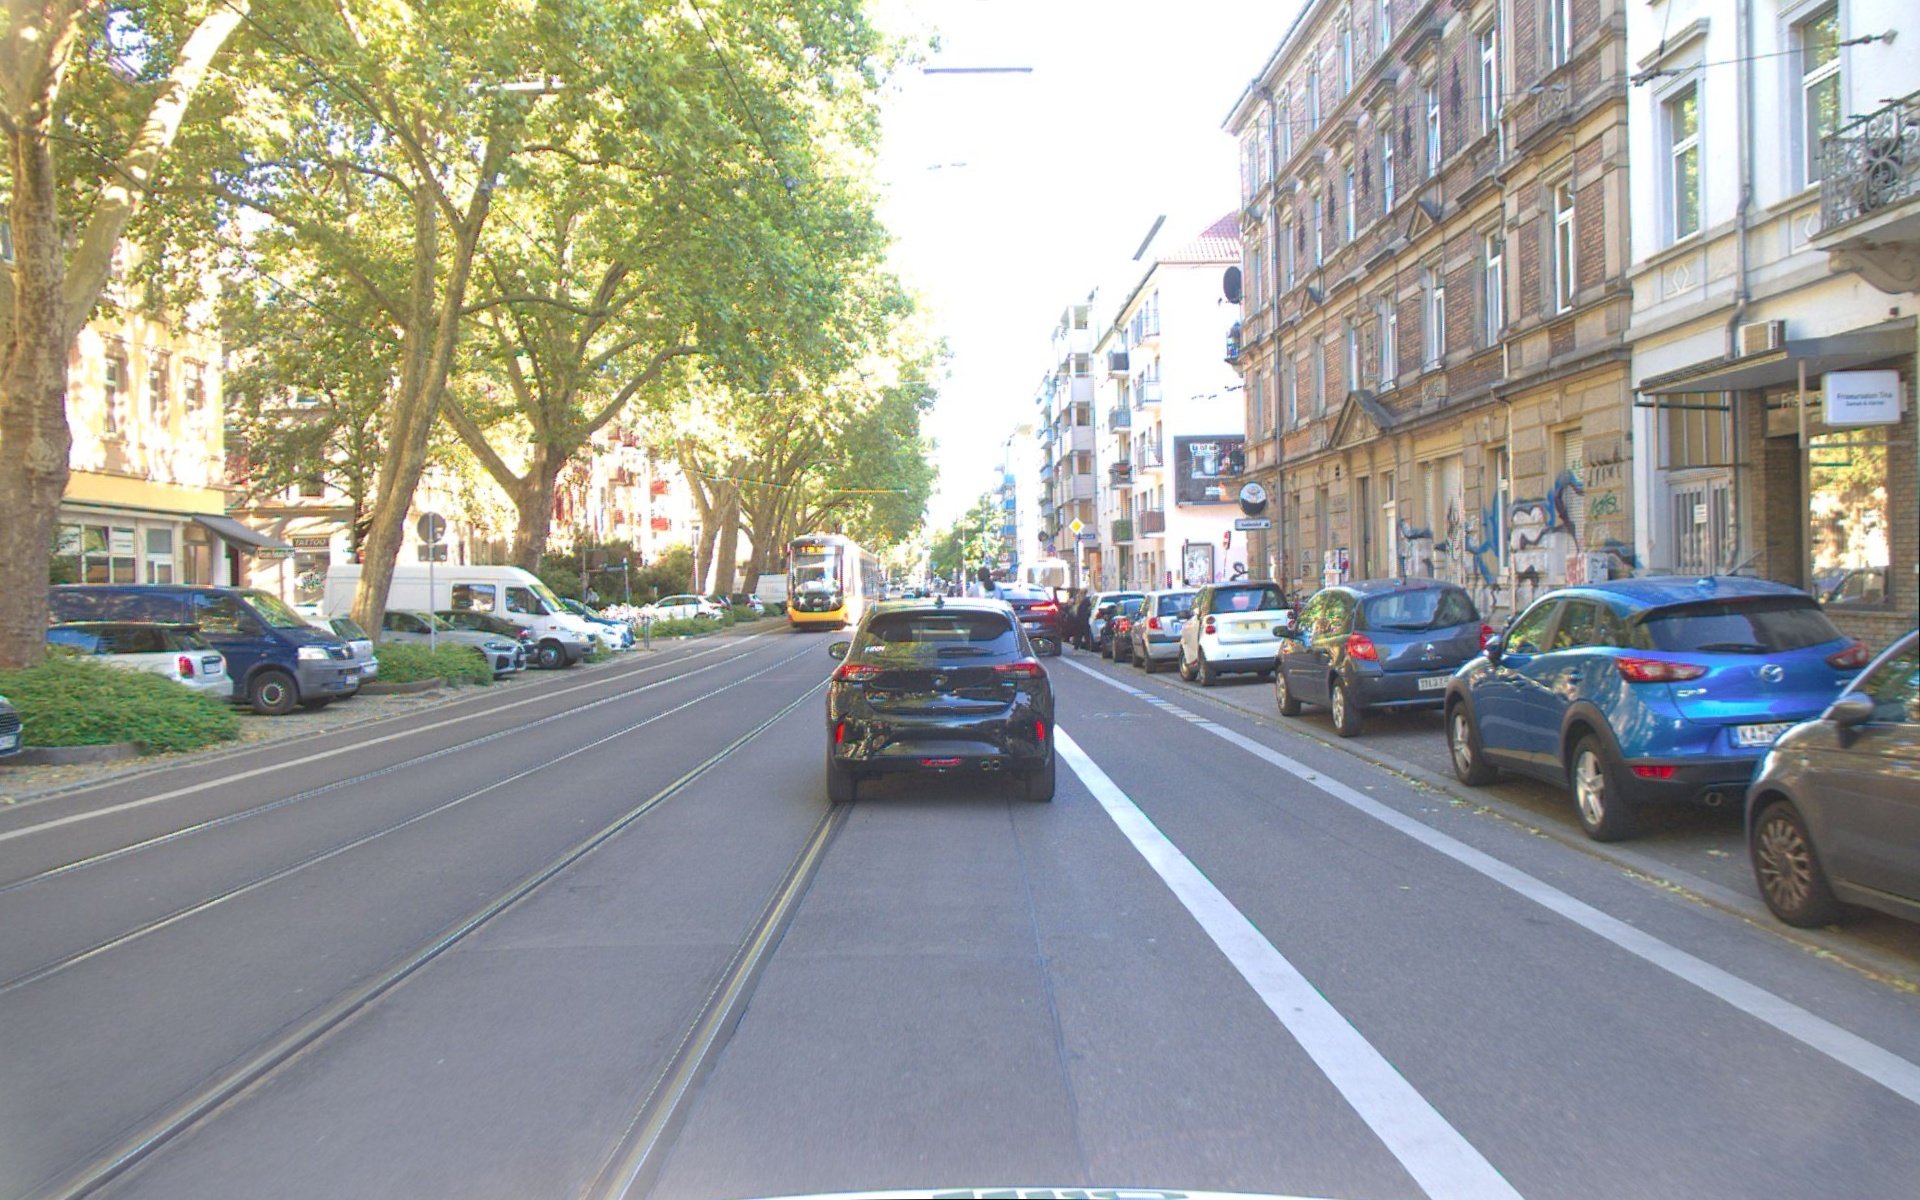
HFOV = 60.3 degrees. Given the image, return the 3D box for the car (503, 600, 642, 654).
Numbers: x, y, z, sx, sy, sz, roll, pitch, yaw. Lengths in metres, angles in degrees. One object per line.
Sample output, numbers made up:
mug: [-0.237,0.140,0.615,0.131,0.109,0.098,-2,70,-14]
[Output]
car: [-11.669,0.798,49.940,3.842,1.605,1.676,0,0,-4]

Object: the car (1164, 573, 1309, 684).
car: [4.357,0.427,26.414,1.537,1.543,3.038,-5,0,-3]

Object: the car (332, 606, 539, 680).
car: [-11.093,0.886,35.128,3.839,1.524,1.677,0,0,0]

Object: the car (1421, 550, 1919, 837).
car: [4.729,0.521,11.462,1.842,1.481,4.025,-5,0,0]

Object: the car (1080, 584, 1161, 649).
car: [4.086,0.395,42.603,1.628,1.444,3.933,-5,0,0]

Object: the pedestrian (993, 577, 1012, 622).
pedestrian: [1.518,-0.013,59.498,0.665,1.594,0.769,-1,0,1]

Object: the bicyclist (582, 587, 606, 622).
bicyclist: [-18.690,0.232,84.518,0.967,1.787,1.153,-1,0,-3]

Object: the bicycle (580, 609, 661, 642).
bicycle: [-12.965,0.986,63.147,2.880,1.190,0.991,-1,0,16]

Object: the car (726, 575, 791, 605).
car: [-12.436,-0.618,102.264,3.842,1.821,1.676,0,0,-4]

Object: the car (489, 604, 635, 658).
car: [-11.380,0.873,47.487,3.842,1.524,1.676,0,0,-4]

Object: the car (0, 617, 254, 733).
car: [-11.949,1.001,22.814,3.658,1.524,1.746,0,0,-1]

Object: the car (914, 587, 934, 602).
car: [-3.336,-0.490,153.987,1.773,1.361,3.933,-1,0,0]

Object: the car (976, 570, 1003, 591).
car: [2.141,-1.385,119.344,1.773,1.361,3.933,-5,0,0]

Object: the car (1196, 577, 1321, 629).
car: [11.170,0.091,61.983,4.289,1.829,1.876,-1,0,-2]

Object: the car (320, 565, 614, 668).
car: [-12.054,0.396,40.839,6.493,2.451,2.457,0,0,-1]

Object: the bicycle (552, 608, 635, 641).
bicycle: [-13.742,0.908,61.975,2.880,1.190,0.991,-1,0,16]

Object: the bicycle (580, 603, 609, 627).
bicycle: [-18.677,0.750,84.529,0.967,1.190,2.950,-1,0,-3]

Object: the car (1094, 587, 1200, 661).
car: [4.006,0.487,35.956,1.773,1.361,3.933,-5,0,0]

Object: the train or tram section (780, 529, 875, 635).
train or tram section: [-5.115,-0.680,66.172,2.679,3.746,12.716,-2,0,0]

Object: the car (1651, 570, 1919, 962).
car: [4.656,0.632,6.904,1.763,1.481,3.767,-5,0,-2]

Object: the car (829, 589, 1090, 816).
car: [-0.042,0.687,13.050,1.757,1.466,3.530,-1,1,-1]

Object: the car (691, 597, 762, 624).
car: [-13.094,0.572,92.894,3.842,1.524,1.676,0,0,-4]

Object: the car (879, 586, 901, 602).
car: [-6.278,-0.542,148.897,1.773,1.361,3.933,-1,0,0]

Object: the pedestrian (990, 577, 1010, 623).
pedestrian: [1.414,-0.007,58.680,0.665,1.594,0.769,-1,0,1]

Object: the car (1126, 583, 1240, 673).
car: [4.179,0.488,31.463,1.670,1.481,3.698,-5,0,2]

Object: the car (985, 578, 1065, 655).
car: [1.528,0.376,40.079,1.773,1.772,3.933,0,0,0]

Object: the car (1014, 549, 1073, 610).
car: [3.450,-0.835,69.044,2.034,2.257,4.933,-5,0,0]

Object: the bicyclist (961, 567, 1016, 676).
bicyclist: [0.466,0.349,27.637,0.831,1.770,1.161,-1,0,-2]

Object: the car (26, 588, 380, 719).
car: [-11.683,0.804,25.763,4.579,1.957,1.980,0,0,0]

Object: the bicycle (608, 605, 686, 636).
bicycle: [-12.378,0.807,65.398,2.880,1.190,0.991,-1,0,16]

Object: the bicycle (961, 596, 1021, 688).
bicycle: [0.491,0.667,27.586,0.843,1.431,2.523,-1,0,-2]

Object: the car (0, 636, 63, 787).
car: [-11.295,1.103,16.350,3.841,1.446,1.817,0,0,-3]

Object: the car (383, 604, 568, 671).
car: [-11.196,0.850,38.420,3.842,1.524,1.676,0,0,-4]

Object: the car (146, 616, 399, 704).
car: [-11.757,1.012,28.450,3.658,1.455,1.637,0,0,-1]

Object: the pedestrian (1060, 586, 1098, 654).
pedestrian: [2.855,0.464,39.577,0.848,1.594,0.769,-1,0,6]

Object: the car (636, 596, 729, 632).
car: [-12.018,0.605,71.849,3.842,1.524,1.676,0,0,-4]

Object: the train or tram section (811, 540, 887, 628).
train or tram section: [-5.147,-0.750,78.879,2.679,3.746,12.716,-2,0,0]

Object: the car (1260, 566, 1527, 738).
car: [4.515,0.493,17.792,1.676,1.509,3.762,-5,0,-2]

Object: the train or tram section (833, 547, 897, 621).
train or tram section: [-5.140,-0.865,91.613,2.679,3.746,12.716,-2,0,0]

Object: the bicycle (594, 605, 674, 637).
bicycle: [-12.661,0.818,64.274,2.880,1.190,0.991,-1,0,16]
